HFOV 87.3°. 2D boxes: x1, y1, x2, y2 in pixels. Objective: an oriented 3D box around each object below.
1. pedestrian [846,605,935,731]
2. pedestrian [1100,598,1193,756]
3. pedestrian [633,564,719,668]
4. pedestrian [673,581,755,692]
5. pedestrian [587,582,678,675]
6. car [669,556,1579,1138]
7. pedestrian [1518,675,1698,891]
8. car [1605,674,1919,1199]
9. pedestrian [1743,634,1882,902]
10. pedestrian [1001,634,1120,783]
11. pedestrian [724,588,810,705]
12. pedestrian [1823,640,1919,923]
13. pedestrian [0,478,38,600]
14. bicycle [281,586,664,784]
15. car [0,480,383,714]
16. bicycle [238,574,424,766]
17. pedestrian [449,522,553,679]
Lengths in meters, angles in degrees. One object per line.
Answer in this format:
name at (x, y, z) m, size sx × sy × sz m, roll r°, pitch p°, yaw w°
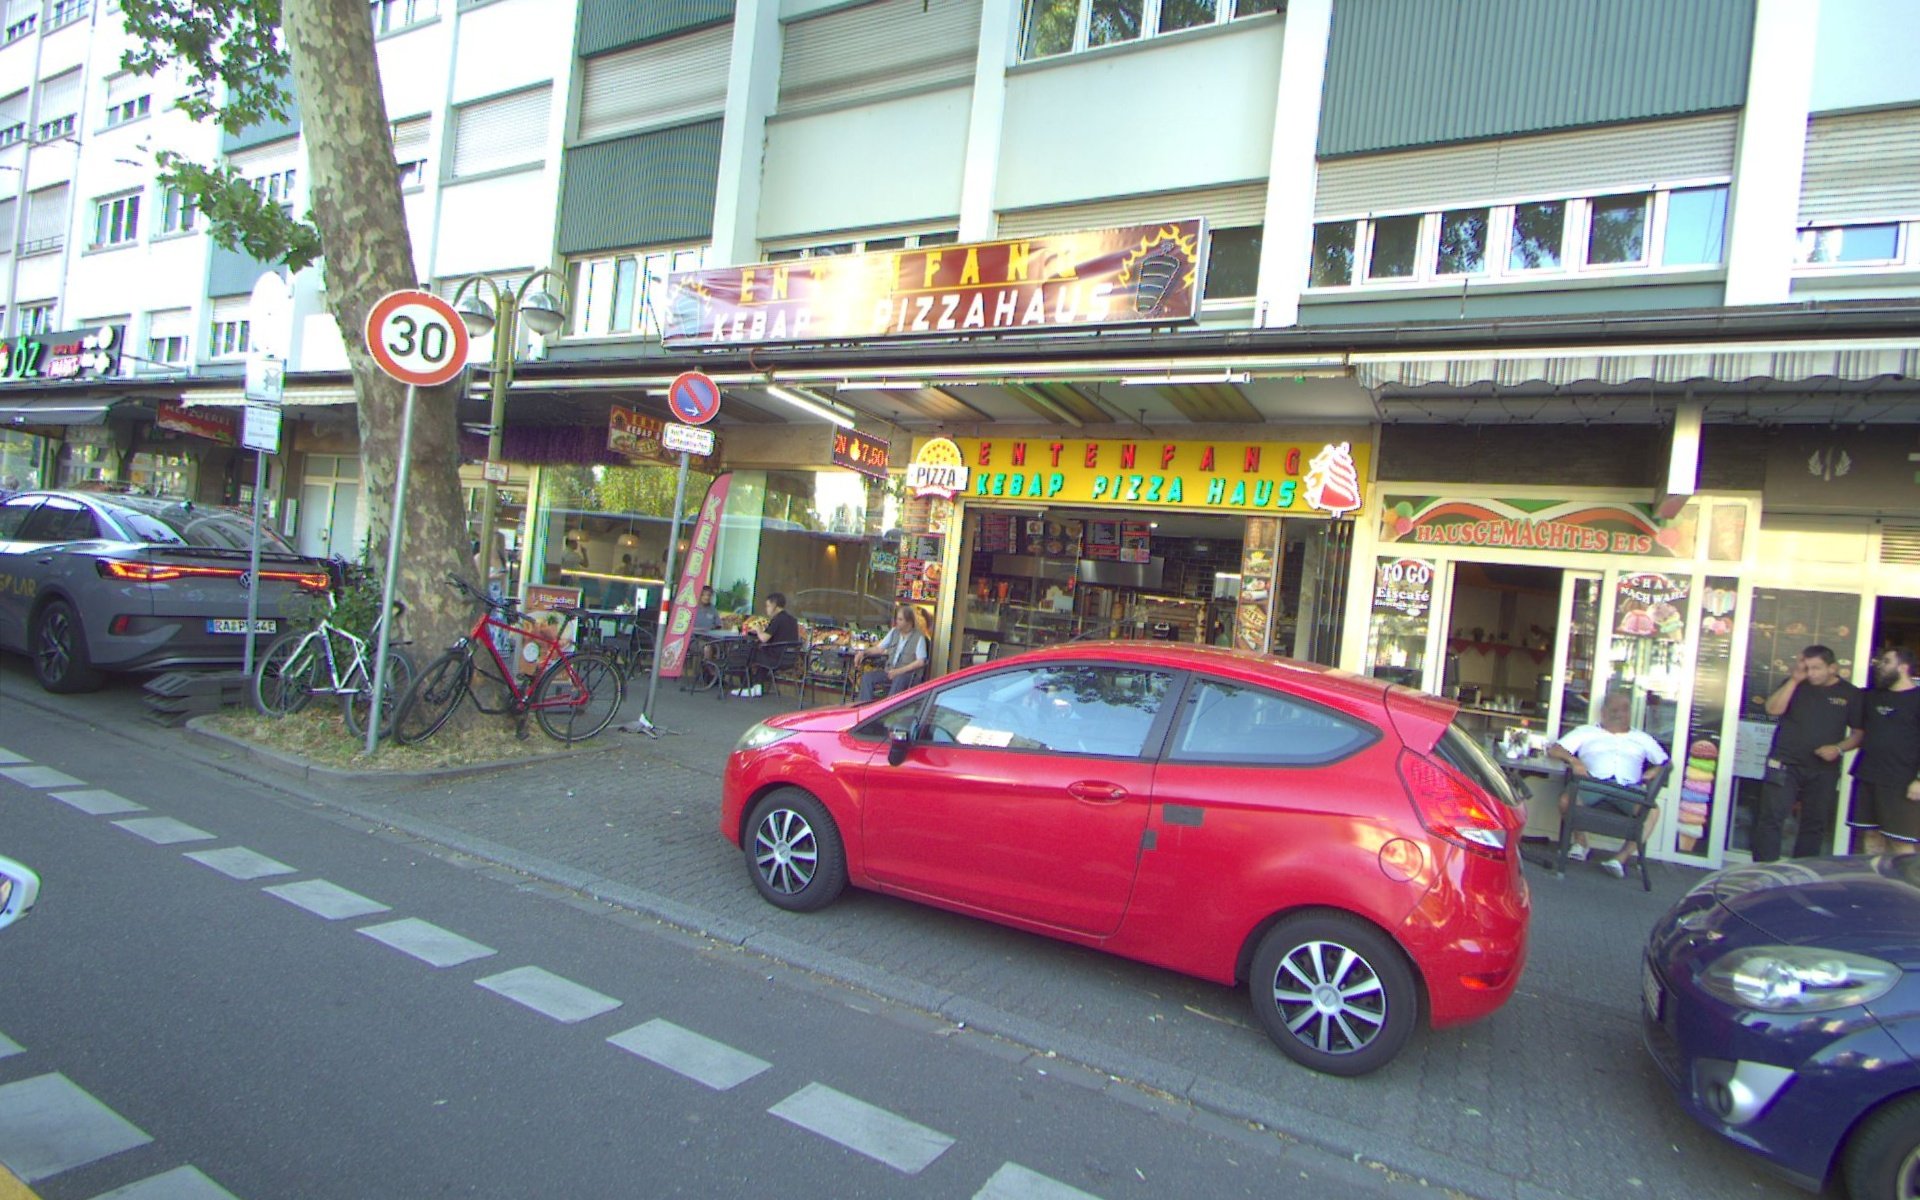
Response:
pedestrian at (-0.737, 0.715, 10.782) m, size 0.550 × 1.252 × 0.689 m, roll 7°, pitch 2°, yaw 29°
pedestrian at (1.994, 0.816, 10.733) m, size 0.589 × 1.566 × 0.700 m, roll 7°, pitch 0°, yaw 34°
pedestrian at (-4.061, 0.222, 14.449) m, size 0.958 × 1.350 × 0.830 m, roll 6°, pitch 0°, yaw -9°
pedestrian at (-2.989, 0.441, 12.217) m, size 0.680 × 1.261 × 0.557 m, roll 7°, pitch 2°, yaw 38°
pedestrian at (-4.297, 0.365, 13.238) m, size 0.940 × 1.094 × 0.639 m, roll 7°, pitch 0°, yaw -9°
car at (0.664, 0.787, 4.924) m, size 3.757 × 1.617 × 1.783 m, roll 6°, pitch 3°, yaw 28°
pedestrian at (4.789, 1.299, 7.521) m, size 0.937 × 1.352 × 1.069 m, roll 7°, pitch 0°, yaw 30°
car at (4.097, 1.226, 2.863) m, size 3.549 × 1.488 × 1.767 m, roll 6°, pitch 3°, yaw 29°
pedestrian at (6.077, 1.168, 7.201) m, size 0.547 × 1.802 × 0.395 m, roll 6°, pitch 2°, yaw 29°
pedestrian at (0.941, 0.979, 9.349) m, size 0.798 × 1.225 × 0.654 m, roll 7°, pitch 2°, yaw 28°
pedestrian at (-2.238, 0.533, 11.661) m, size 0.679 × 1.261 × 0.558 m, roll 7°, pitch 2°, yaw 33°
pedestrian at (6.373, 1.205, 6.816) m, size 0.391 × 1.805 × 0.552 m, roll 4°, pitch 2°, yaw -29°
pedestrian at (-13.660, -0.889, 14.351) m, size 0.661 × 1.688 × 0.593 m, roll 4°, pitch 2°, yaw -42°
bicycle at (-3.323, 0.524, 7.100) m, size 0.547 × 1.171 × 2.377 m, roll 7°, pitch 4°, yaw 44°
car at (-7.656, -0.159, 9.248) m, size 4.292 × 1.603 × 1.996 m, roll 7°, pitch 2°, yaw 27°
bicycle at (-4.545, 0.470, 7.238) m, size 1.421 × 1.169 × 0.553 m, roll 6°, pitch 0°, yaw 36°
pedestrian at (-5.131, 0.011, 11.250) m, size 0.783 × 1.667 × 0.583 m, roll 6°, pitch 0°, yaw 30°
